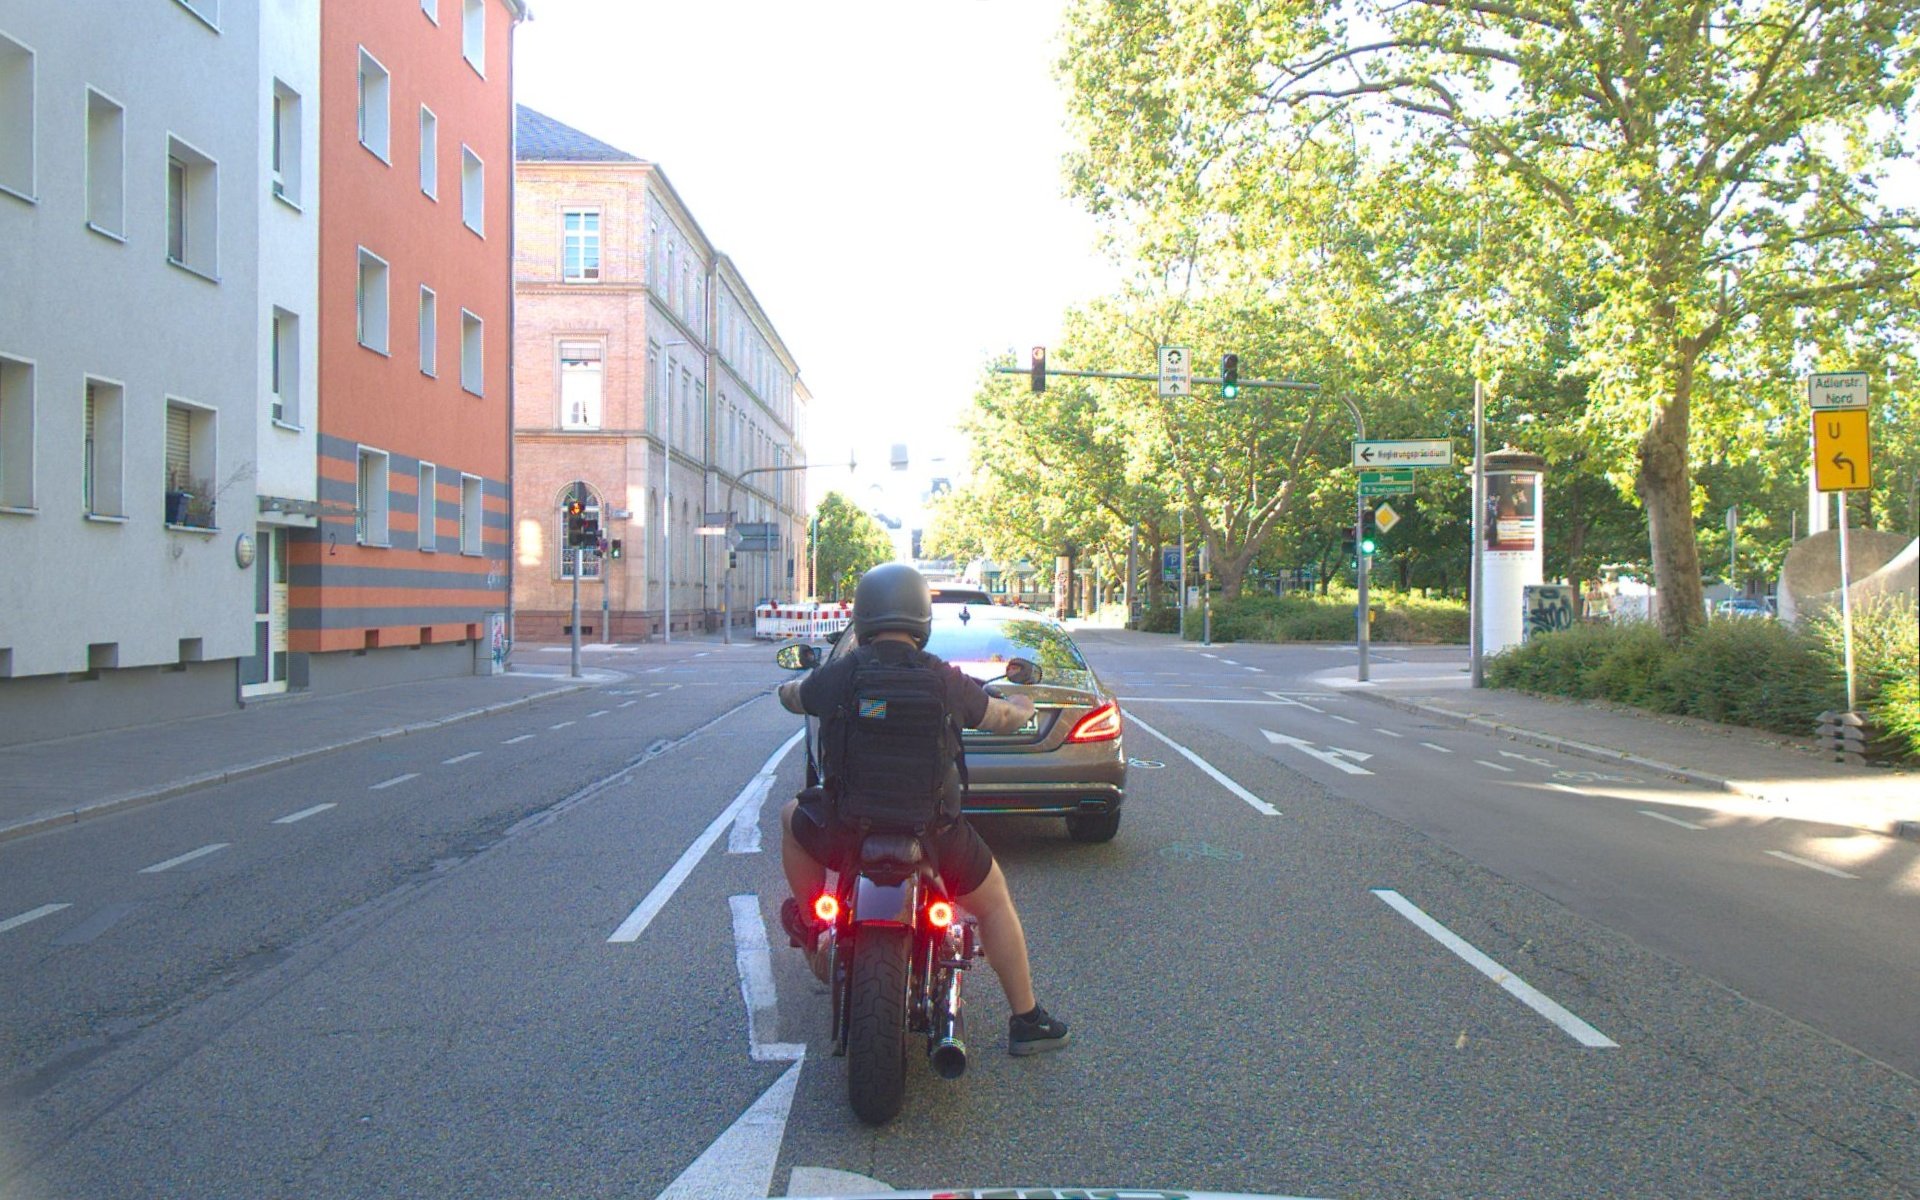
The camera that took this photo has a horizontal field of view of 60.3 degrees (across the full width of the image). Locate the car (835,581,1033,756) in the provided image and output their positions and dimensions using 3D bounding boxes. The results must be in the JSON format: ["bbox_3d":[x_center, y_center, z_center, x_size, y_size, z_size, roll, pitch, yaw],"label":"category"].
[{"bbox_3d":[-0.343,0.605,16.754,1.777,1.563,3.846,0,0,-3],"label":"car"}]

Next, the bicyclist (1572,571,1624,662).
[{"bbox_3d":[11.600,0.297,30.050,0.703,1.610,0.933,1,-1,32],"label":"bicyclist"}]

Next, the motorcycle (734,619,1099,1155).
[{"bbox_3d":[-0.129,0.772,5.524,0.942,1.380,2.319,1,0,-1],"label":"motorcycle"}]

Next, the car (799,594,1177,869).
[{"bbox_3d":[-0.035,0.697,11.115,1.867,1.466,4.280,0,0,-9],"label":"car"}]

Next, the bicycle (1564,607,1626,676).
[{"bbox_3d":[11.506,0.741,29.924,0.702,1.193,2.171,1,0,30],"label":"bicycle"}]

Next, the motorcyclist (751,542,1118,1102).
[{"bbox_3d":[-0.079,0.647,5.255,1.039,1.610,0.908,1,0,-1],"label":"motorcyclist"}]
